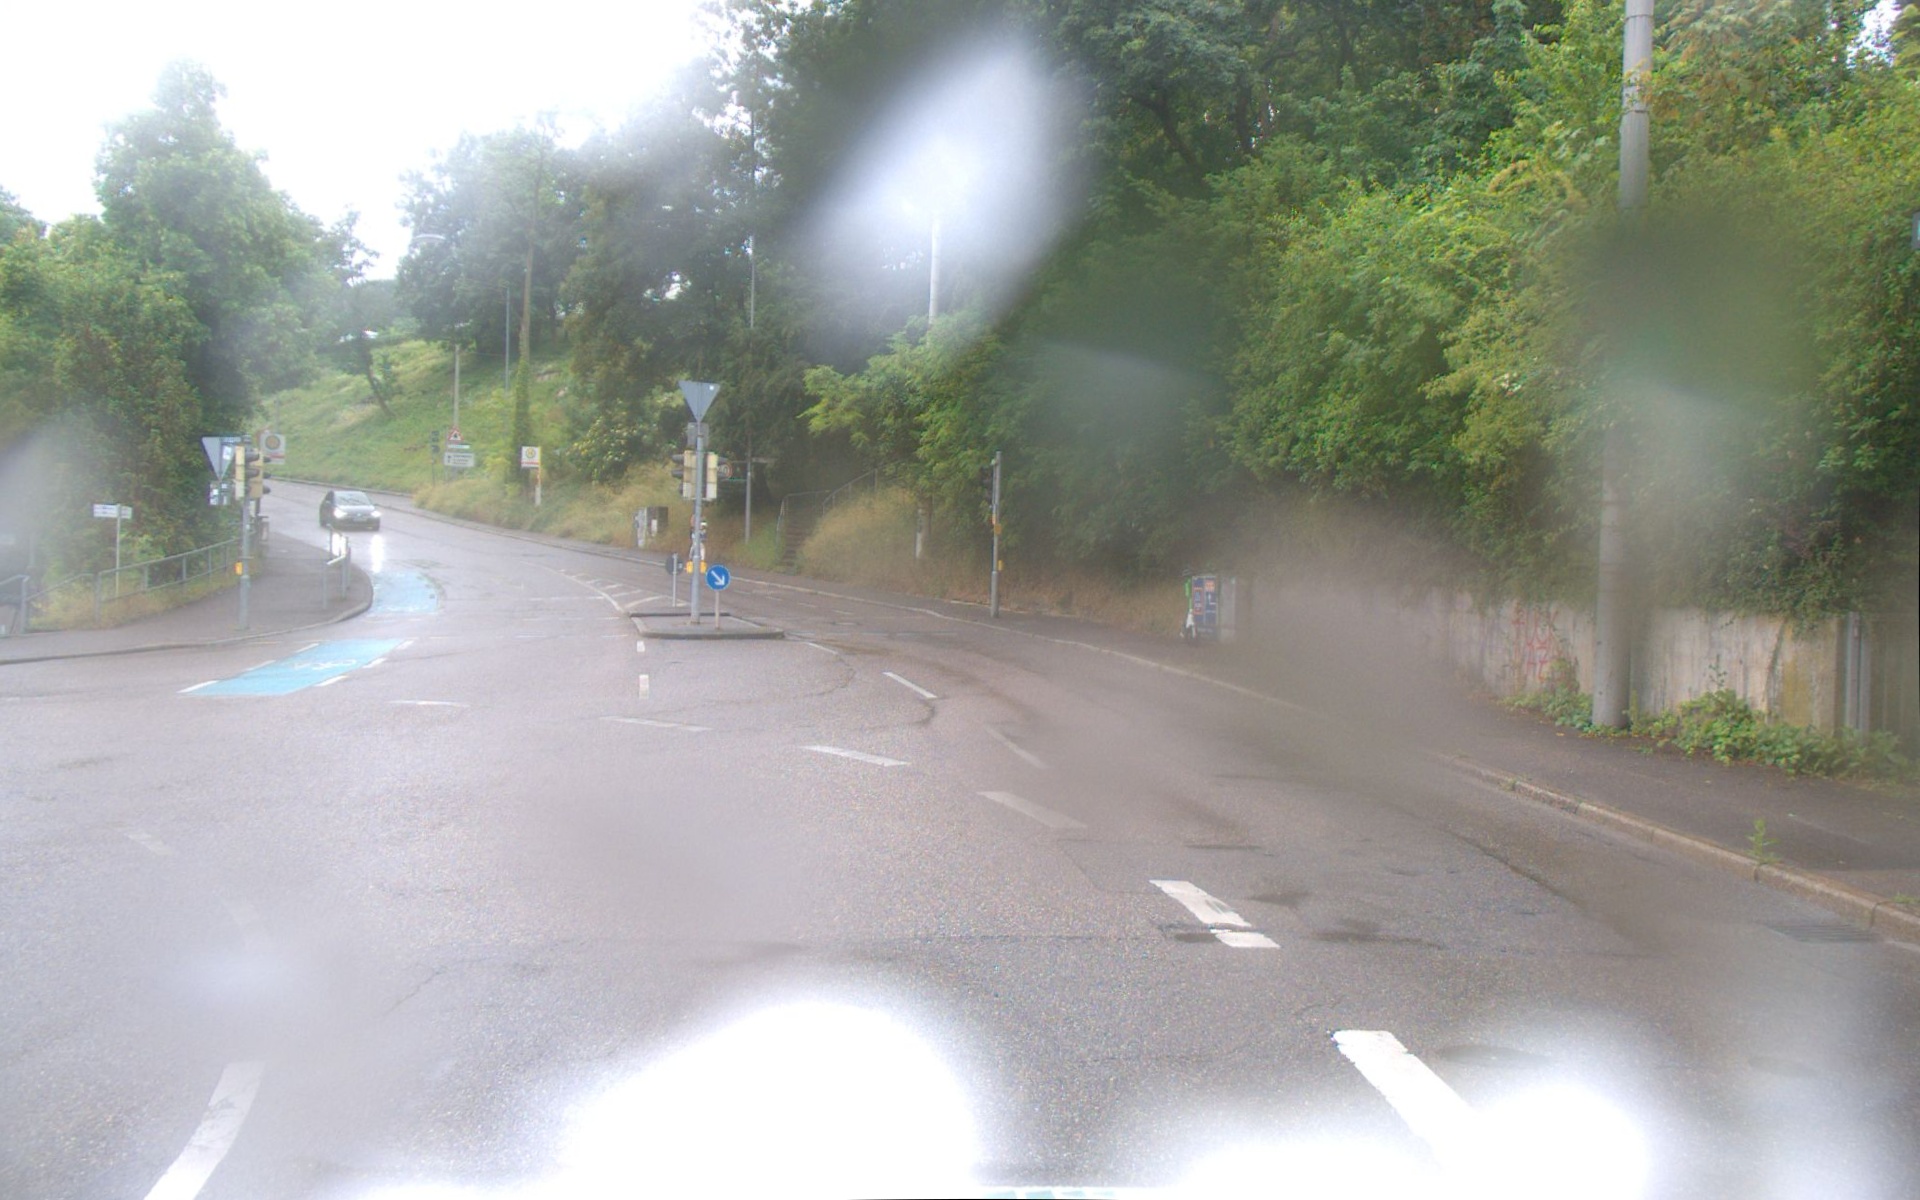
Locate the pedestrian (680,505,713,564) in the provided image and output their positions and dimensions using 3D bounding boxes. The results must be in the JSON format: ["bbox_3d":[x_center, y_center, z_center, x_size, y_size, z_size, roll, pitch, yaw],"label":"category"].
[{"bbox_3d":[-8.132,-2.021,51.039,0.867,1.767,0.861,1,-1,-18],"label":"pedestrian"}]

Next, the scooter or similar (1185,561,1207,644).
[{"bbox_3d":[3.782,0.031,26.532,0.315,1.302,0.752,0,3,7],"label":"scooter or similar"}]

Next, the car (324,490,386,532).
[{"bbox_3d":[-23.979,-3.540,65.496,1.931,1.538,4.371,1,3,-25],"label":"car"}]
